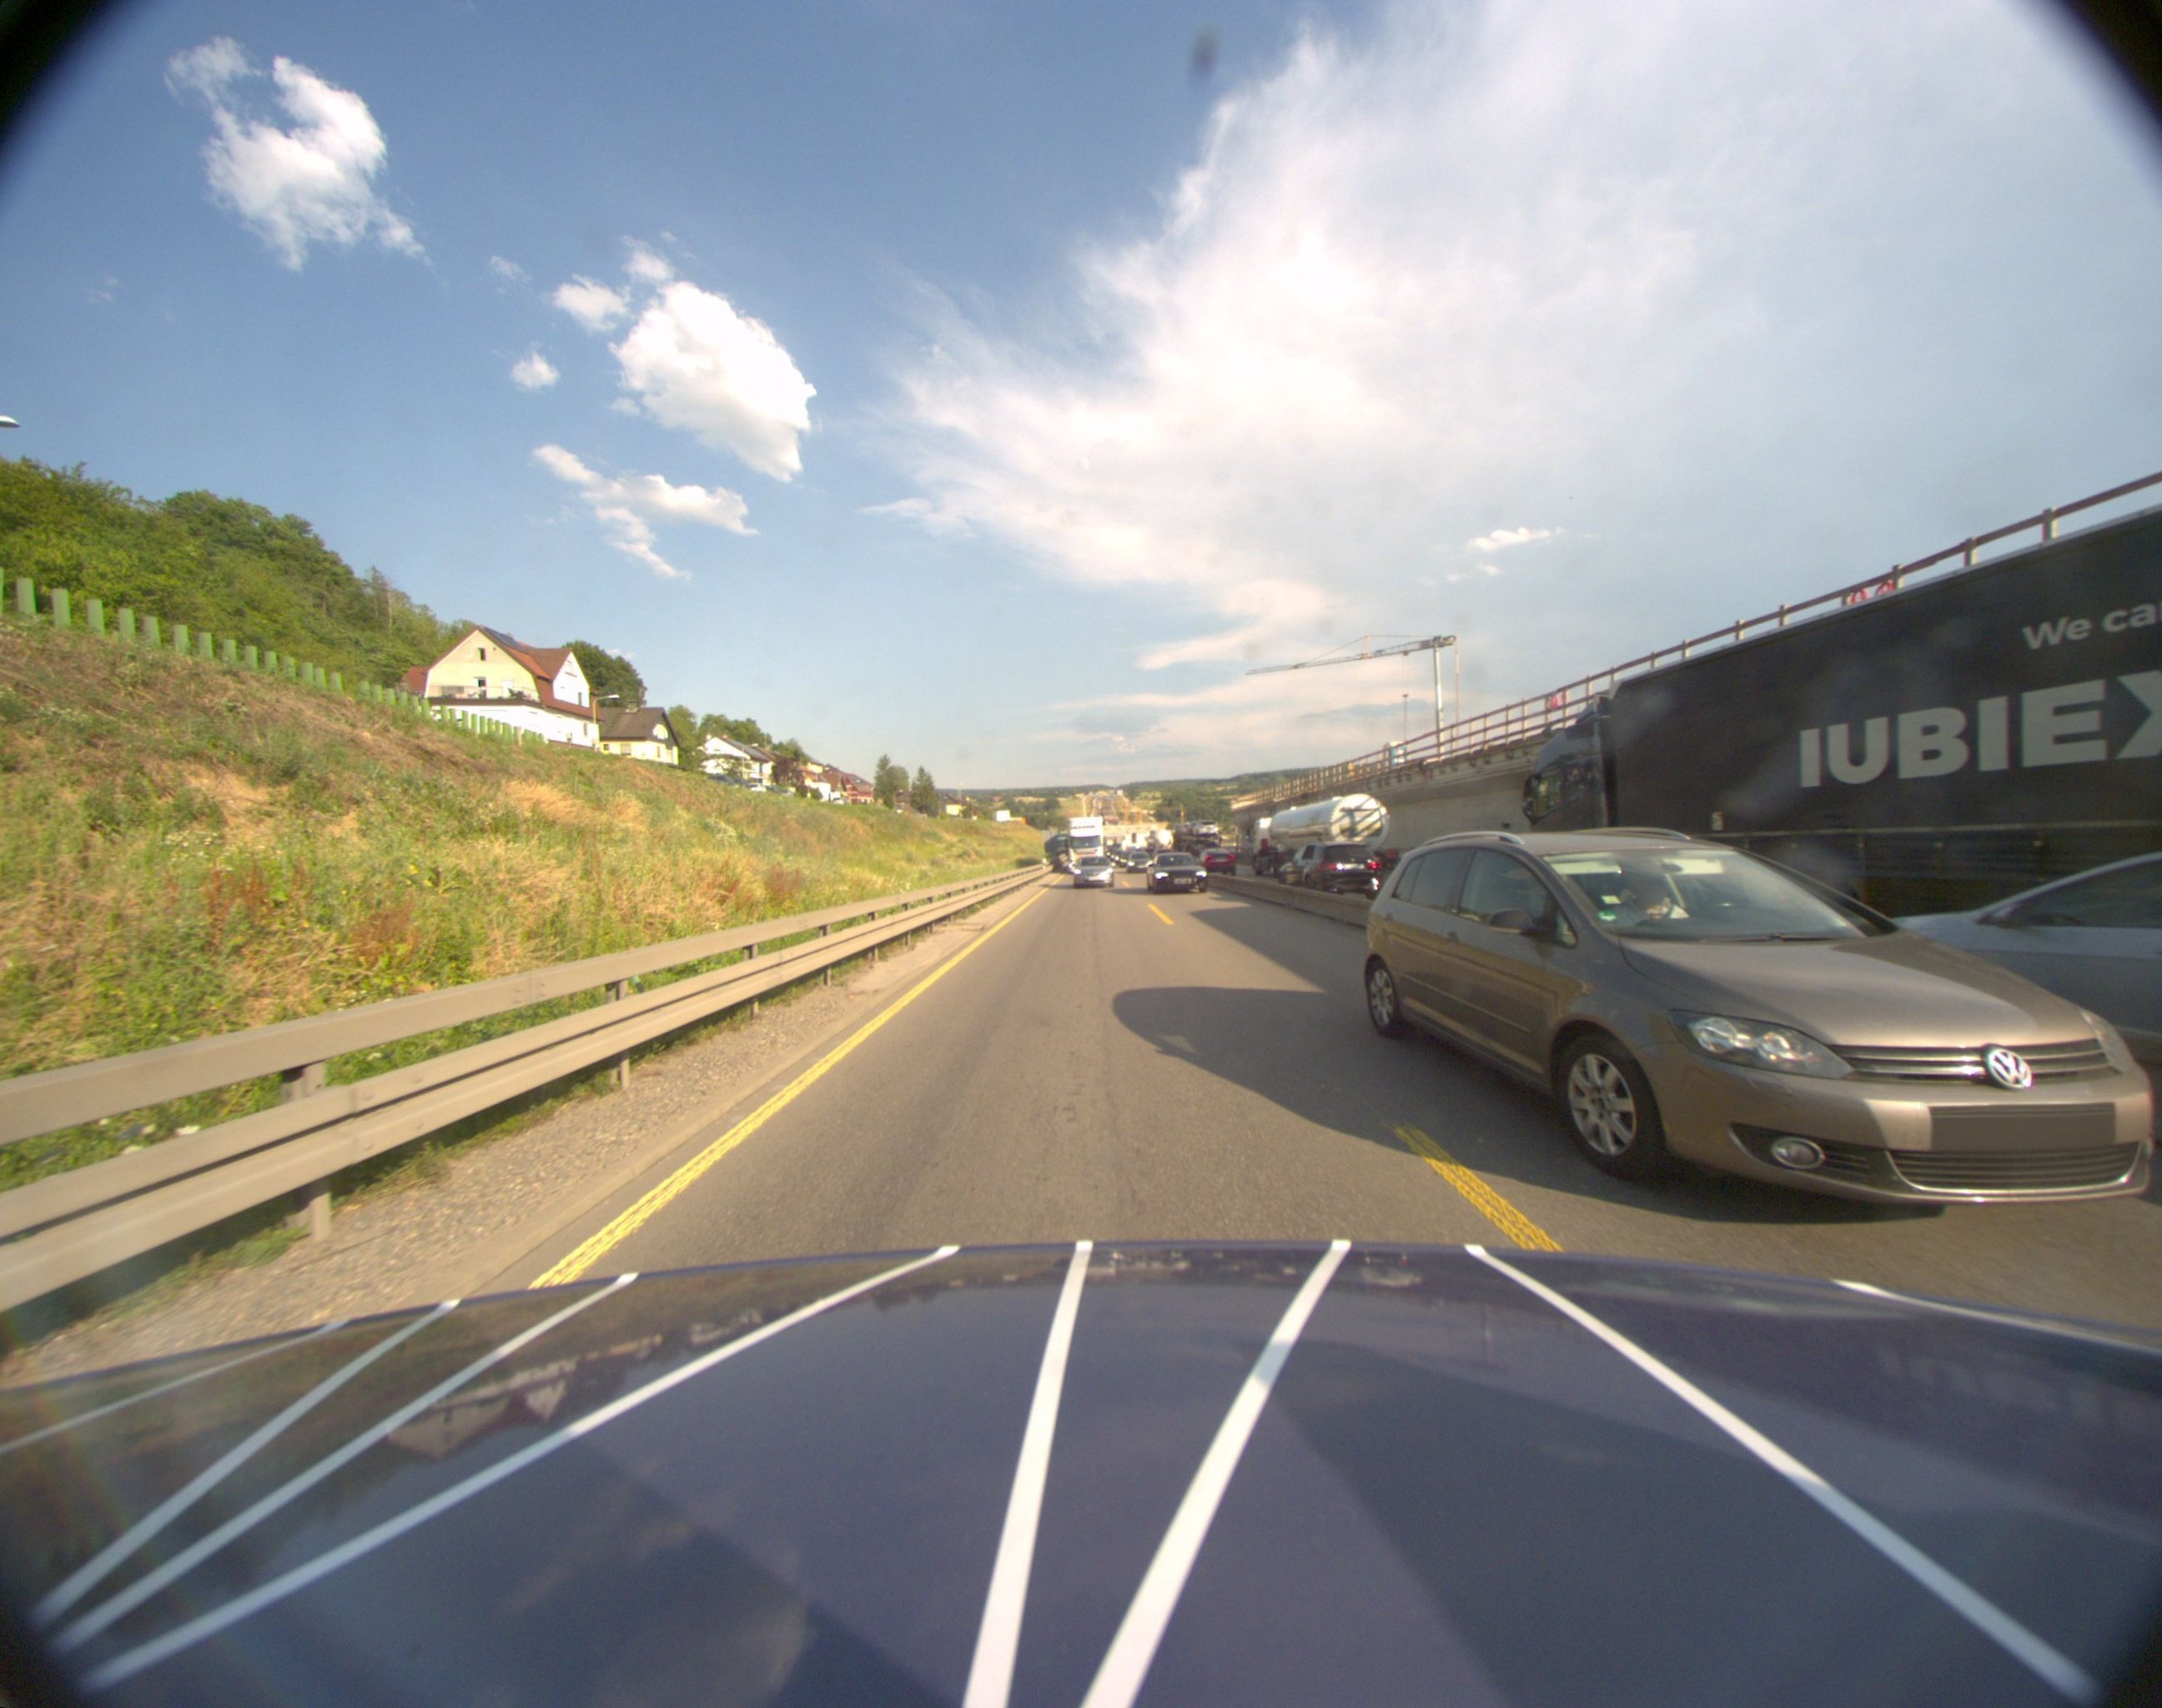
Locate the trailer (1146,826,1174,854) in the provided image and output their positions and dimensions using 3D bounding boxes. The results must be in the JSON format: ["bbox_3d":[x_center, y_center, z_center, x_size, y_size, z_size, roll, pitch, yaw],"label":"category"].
[{"bbox_3d":[11.558,-2.076,112.187,2.659,3.828,13.440,-2,1,0],"label":"trailer"}]

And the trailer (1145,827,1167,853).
[{"bbox_3d":[11.617,-2.202,118.452,2.659,3.828,6.428,-2,1,0],"label":"trailer"}]

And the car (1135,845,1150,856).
[{"bbox_3d":[8.487,-0.535,104.596,1.713,1.437,4.599,-2,1,1],"label":"car"}]

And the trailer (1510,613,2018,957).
[{"bbox_3d":[10.064,-0.837,12.303,2.771,4.117,5.976,-2,0,0],"label":"trailer"}]

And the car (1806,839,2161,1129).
[{"bbox_3d":[6.423,0.684,3.585,1.645,1.451,4.595,-2,1,0],"label":"car"}]

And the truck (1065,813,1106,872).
[{"bbox_3d":[0.473,-0.924,59.604,2.741,4.033,12.668,-2,1,1],"label":"truck"}]

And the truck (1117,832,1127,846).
[{"bbox_3d":[13.084,-4.770,242.734,2.873,4.038,7.597,-2,1,1],"label":"truck"}]

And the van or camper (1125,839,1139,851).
[{"bbox_3d":[8.478,-1.525,126.742,1.863,2.002,5.294,-2,1,0],"label":"van or camper"}]

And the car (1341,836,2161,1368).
[{"bbox_3d":[3.068,0.760,4.402,1.685,1.579,4.272,0,0,0],"label":"car"}]

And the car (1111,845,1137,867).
[{"bbox_3d":[3.681,0.155,66.082,1.998,1.740,4.000,-1,0,0],"label":"car"}]

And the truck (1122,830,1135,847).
[{"bbox_3d":[12.496,-4.117,200.551,2.834,4.239,10.070,-2,1,1],"label":"truck"}]

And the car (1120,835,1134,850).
[{"bbox_3d":[8.542,-2.134,141.805,1.999,2.608,7.407,-2,1,-2],"label":"car"}]

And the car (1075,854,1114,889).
[{"bbox_3d":[0.593,0.751,34.275,1.671,1.425,3.523,-1,1,1],"label":"car"}]

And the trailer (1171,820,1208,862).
[{"bbox_3d":[11.069,-1.368,78.357,2.778,4.008,7.206,-2,1,1],"label":"trailer"}]

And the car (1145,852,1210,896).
[{"bbox_3d":[3.473,0.680,28.020,1.873,1.411,4.348,-1,1,1],"label":"car"}]

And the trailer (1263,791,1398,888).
[{"bbox_3d":[10.545,-0.631,33.533,2.563,3.506,10.679,-2,1,1],"label":"trailer"}]

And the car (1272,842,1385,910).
[{"bbox_3d":[6.817,0.519,21.483,1.645,1.635,4.688,-2,1,0],"label":"car"}]

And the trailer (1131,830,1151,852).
[{"bbox_3d":[11.964,-2.649,153.010,2.933,4.014,13.770,-2,1,0],"label":"trailer"}]

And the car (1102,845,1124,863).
[{"bbox_3d":[3.092,-0.006,74.417,1.918,1.746,4.000,-1,0,0],"label":"car"}]

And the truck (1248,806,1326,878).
[{"bbox_3d":[10.647,-0.650,39.759,2.555,3.390,5.530,-2,1,0],"label":"truck"}]

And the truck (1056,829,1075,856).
[{"bbox_3d":[-2.357,-1.745,116.665,2.547,3.992,6.071,-2,1,1],"label":"truck"}]

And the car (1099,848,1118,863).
[{"bbox_3d":[3.126,0.170,87.282,1.918,1.746,4.000,-1,0,0],"label":"car"}]

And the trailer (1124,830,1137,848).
[{"bbox_3d":[12.414,-3.841,191.139,2.834,4.258,8.734,-2,1,1],"label":"trailer"}]

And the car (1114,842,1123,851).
[{"bbox_3d":[8.415,-1.693,172.504,1.785,1.833,4.852,-2,1,1],"label":"car"}]

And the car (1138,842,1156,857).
[{"bbox_3d":[7.623,-0.548,88.331,1.761,1.569,4.338,-2,1,1],"label":"car"}]

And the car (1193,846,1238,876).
[{"bbox_3d":[7.511,0.345,42.744,1.730,1.548,4.297,-2,0,0],"label":"car"}]

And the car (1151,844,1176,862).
[{"bbox_3d":[7.490,-0.124,68.997,1.770,1.543,4.835,-2,1,1],"label":"car"}]

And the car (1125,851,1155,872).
[{"bbox_3d":[4.074,0.514,53.027,1.692,1.293,3.882,-2,1,-1],"label":"car"}]

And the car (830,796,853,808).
[{"bbox_3d":[-34.062,-7.348,108.072,1.999,1.434,3.999,-2,1,-1],"label":"car"}]

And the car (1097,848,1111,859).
[{"bbox_3d":[3.086,-0.074,101.908,1.720,1.469,3.728,-2,0,0],"label":"car"}]

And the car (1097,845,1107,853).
[{"bbox_3d":[4.515,-1.073,163.007,1.998,1.696,3.999,-2,0,0],"label":"car"}]

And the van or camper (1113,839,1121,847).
[{"bbox_3d":[9.175,-2.929,196.036,1.868,1.882,5.003,-2,1,1],"label":"van or camper"}]

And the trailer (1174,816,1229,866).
[{"bbox_3d":[10.990,-1.217,70.893,2.778,4.008,15.760,-2,1,1],"label":"trailer"}]

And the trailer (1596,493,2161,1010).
[{"bbox_3d":[10.013,-0.850,5.698,2.771,4.117,14.025,-2,0,0],"label":"trailer"}]
